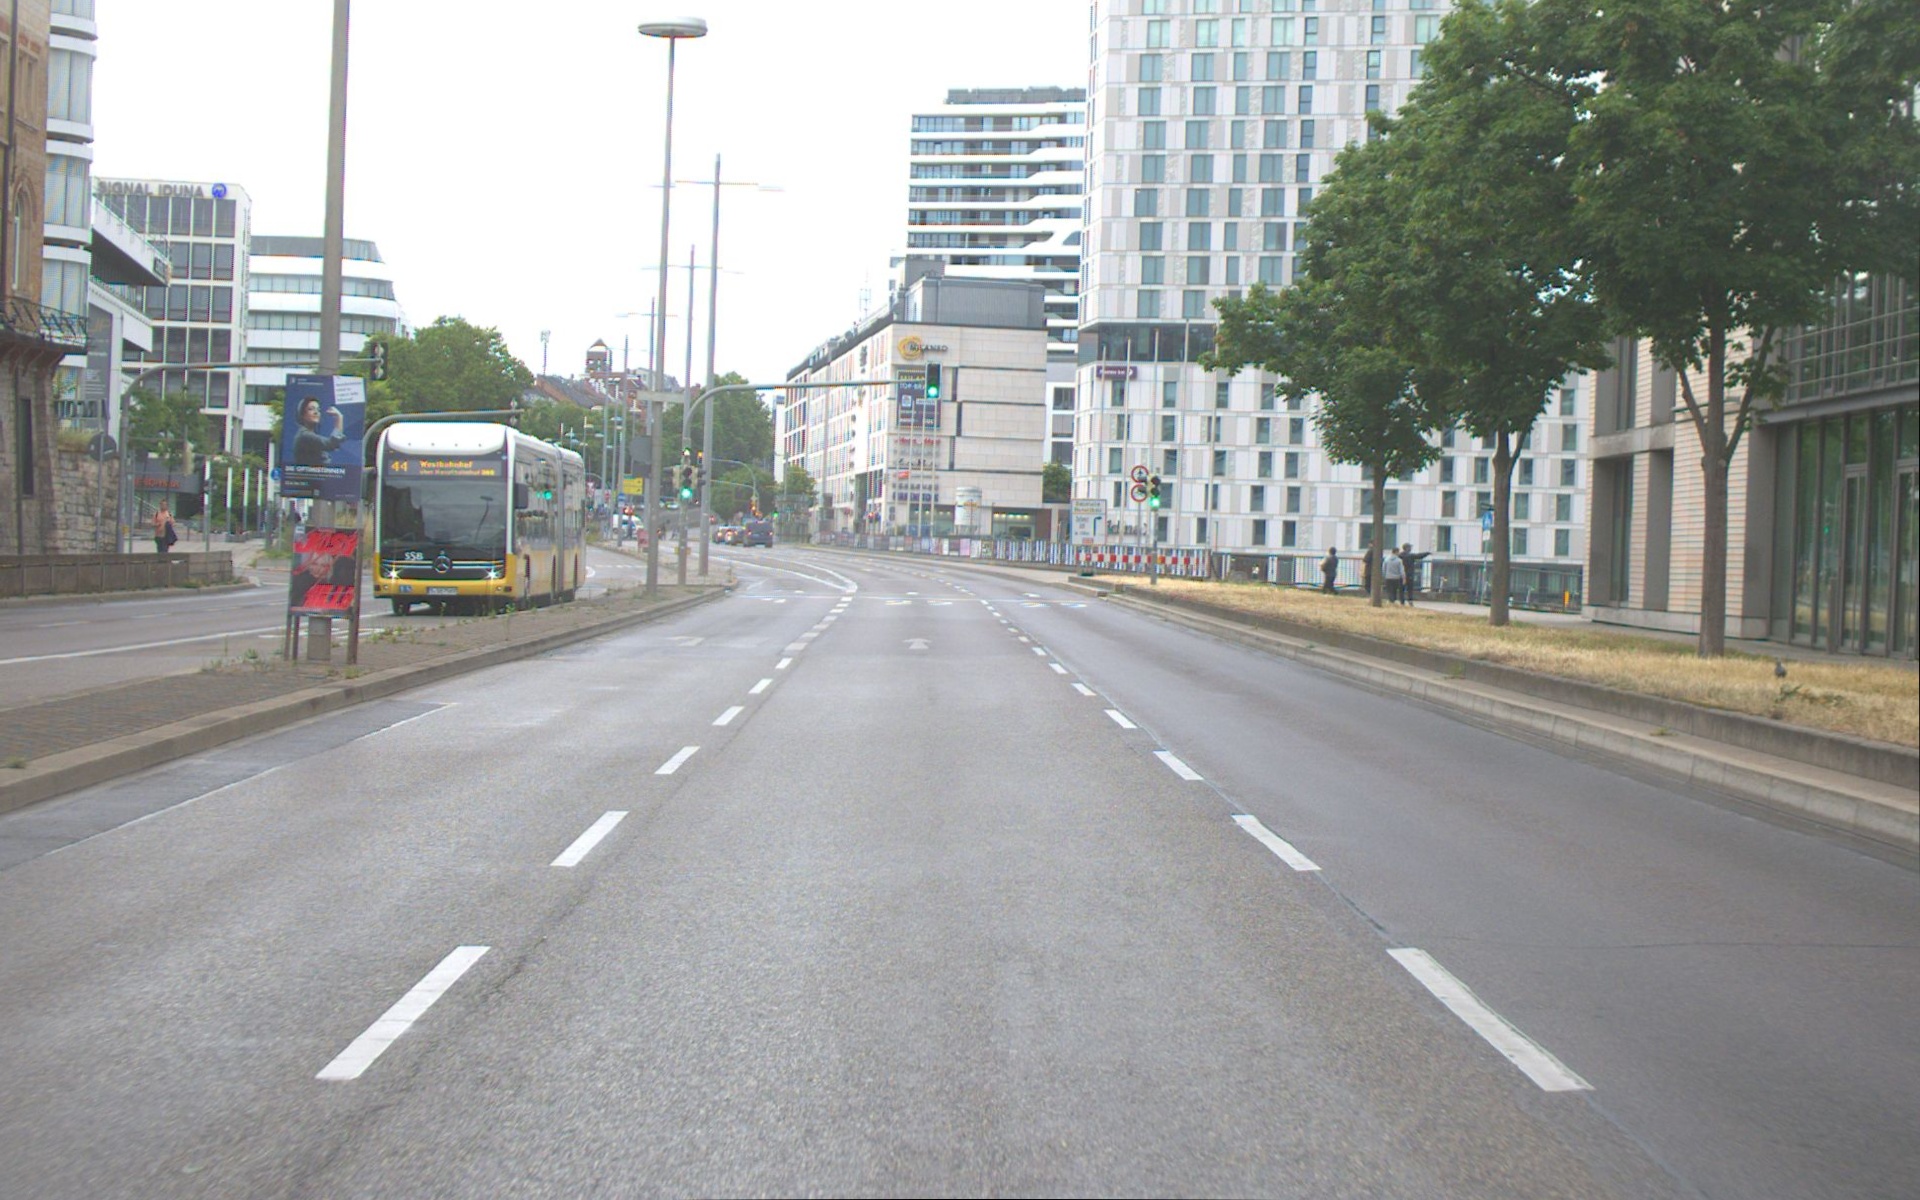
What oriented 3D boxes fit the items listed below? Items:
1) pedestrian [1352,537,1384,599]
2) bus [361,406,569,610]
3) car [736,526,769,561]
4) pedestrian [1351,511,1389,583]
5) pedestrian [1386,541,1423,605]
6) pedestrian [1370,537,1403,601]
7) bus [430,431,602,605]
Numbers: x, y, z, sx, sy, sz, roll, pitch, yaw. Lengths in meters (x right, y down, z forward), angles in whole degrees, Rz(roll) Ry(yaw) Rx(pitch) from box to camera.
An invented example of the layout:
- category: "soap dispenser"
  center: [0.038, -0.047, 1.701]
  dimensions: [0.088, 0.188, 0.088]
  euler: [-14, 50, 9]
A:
- category: "pedestrian"
  center: [10.537, -0.826, 88.722]
  dimensions: [0.550, 1.572, 0.669]
  euler: [2, 3, 34]
- category: "bus"
  center: [-9.248, -1.714, 65.301]
  dimensions: [2.698, 3.547, 10.095]
  euler: [1, 1, -1]
- category: "car"
  center: [-15.551, -4.216, 257.555]
  dimensions: [1.994, 2.335, 4.001]
  euler: [-9, 1, -2]
- category: "pedestrian"
  center: [10.583, -1.370, 88.734]
  dimensions: [0.781, 1.835, 0.551]
  euler: [-2, 3, -44]
- category: "pedestrian"
  center: [11.238, -0.688, 86.915]
  dimensions: [0.670, 1.572, 0.667]
  euler: [3, 3, 37]
- category: "pedestrian"
  center: [10.698, -0.777, 86.234]
  dimensions: [0.550, 1.572, 0.669]
  euler: [2, 3, 34]
- category: "bus"
  center: [-9.676, -1.824, 75.940]
  dimensions: [2.698, 3.547, 10.095]
  euler: [1, 2, -1]
